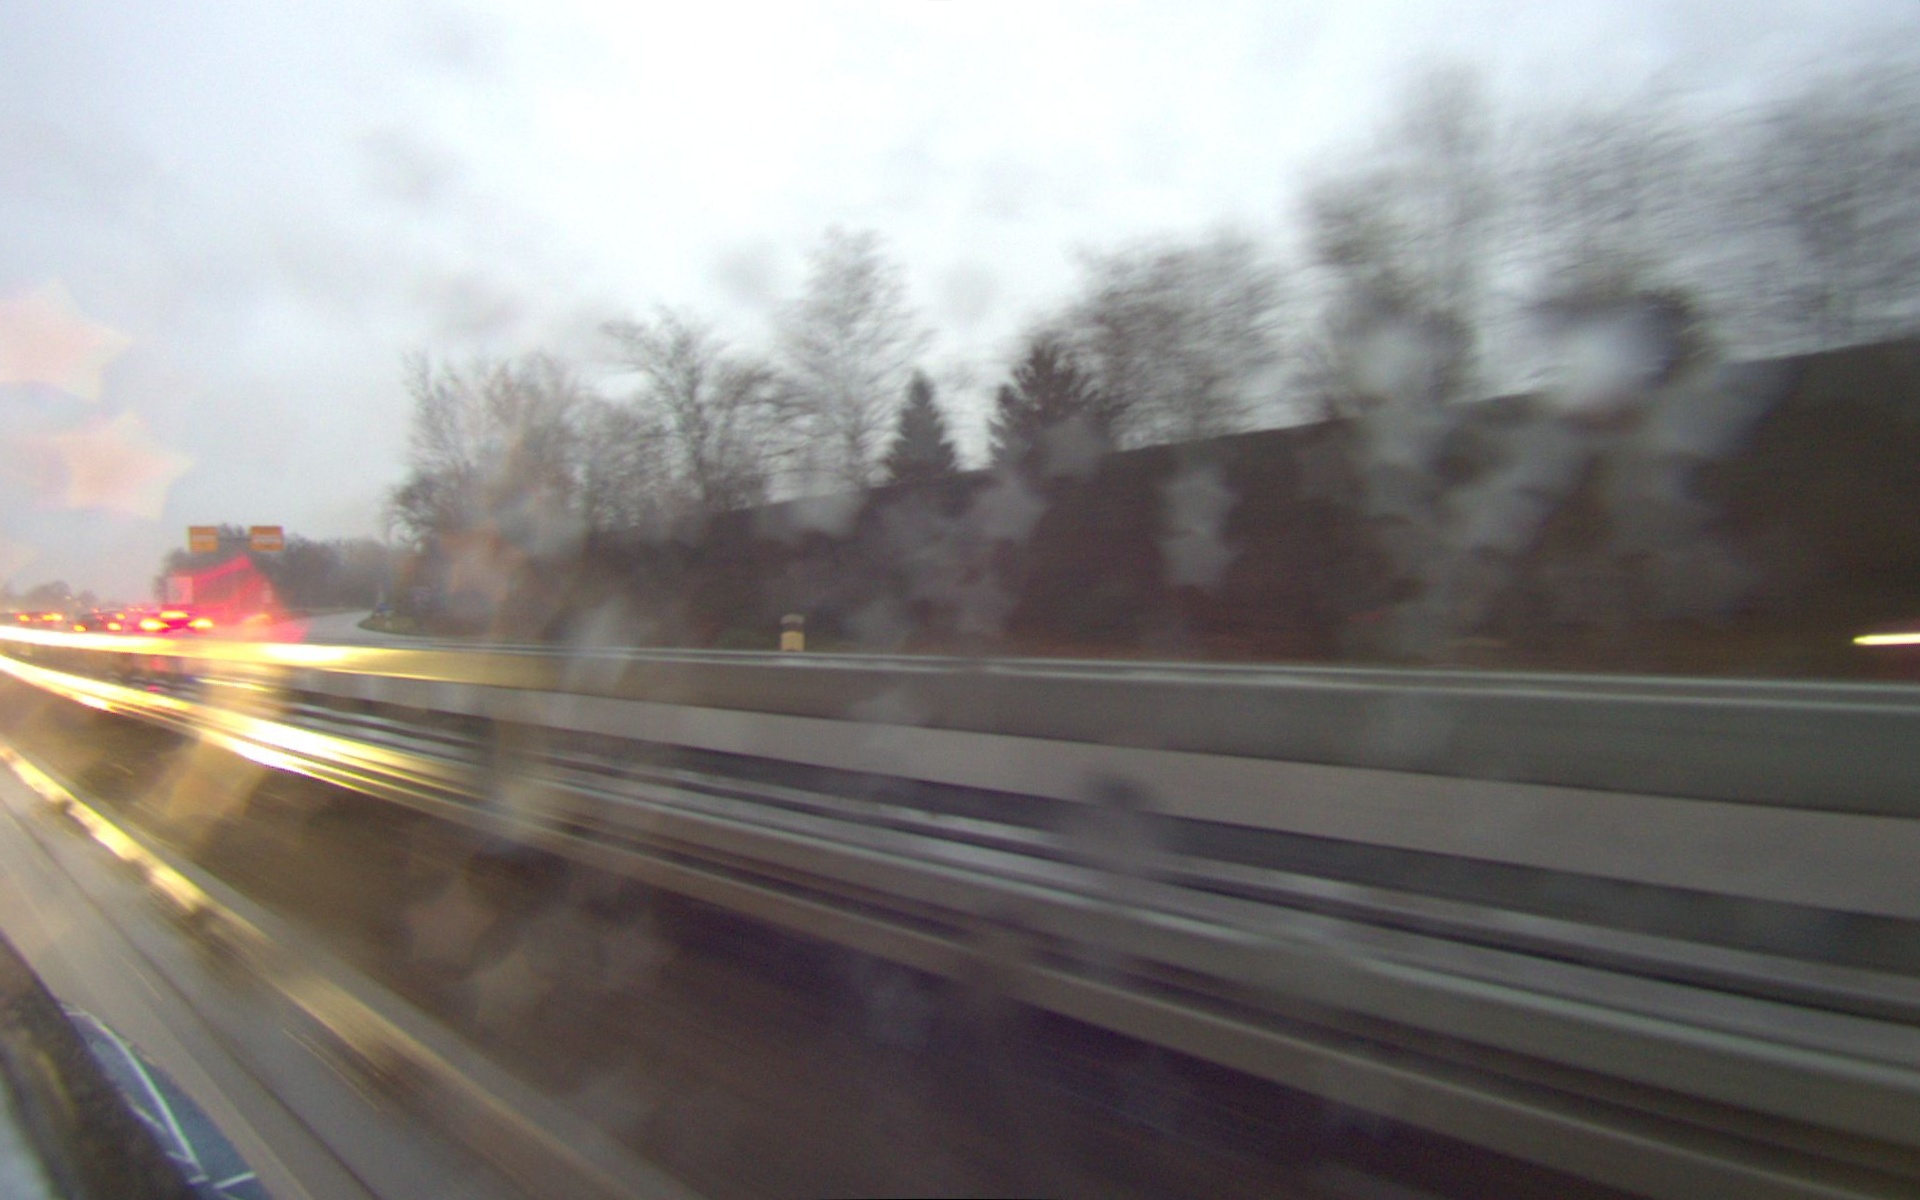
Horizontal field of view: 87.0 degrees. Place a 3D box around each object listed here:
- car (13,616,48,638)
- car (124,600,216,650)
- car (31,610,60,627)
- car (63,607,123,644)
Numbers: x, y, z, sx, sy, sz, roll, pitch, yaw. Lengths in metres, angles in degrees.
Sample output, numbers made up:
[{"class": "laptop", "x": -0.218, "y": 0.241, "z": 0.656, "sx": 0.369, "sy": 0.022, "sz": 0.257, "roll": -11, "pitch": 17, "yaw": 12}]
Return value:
[{"class": "car", "x": -68.971, "y": 1.989, "z": 75.063, "sx": 4.600, "sy": 1.495, "sz": 1.598, "roll": -1, "pitch": 1, "yaw": 44}, {"class": "car", "x": -27.017, "y": 0.824, "z": 34.576, "sx": 4.134, "sy": 1.521, "sz": 1.764, "roll": -1, "pitch": 1, "yaw": 42}, {"class": "car", "x": -87.539, "y": 1.755, "z": 96.870, "sx": 3.844, "sy": 1.506, "sz": 1.717, "roll": -1, "pitch": 1, "yaw": 44}, {"class": "car", "x": -38.868, "y": 1.126, "z": 45.331, "sx": 3.505, "sy": 1.530, "sz": 1.636, "roll": -1, "pitch": 1, "yaw": 43}]
